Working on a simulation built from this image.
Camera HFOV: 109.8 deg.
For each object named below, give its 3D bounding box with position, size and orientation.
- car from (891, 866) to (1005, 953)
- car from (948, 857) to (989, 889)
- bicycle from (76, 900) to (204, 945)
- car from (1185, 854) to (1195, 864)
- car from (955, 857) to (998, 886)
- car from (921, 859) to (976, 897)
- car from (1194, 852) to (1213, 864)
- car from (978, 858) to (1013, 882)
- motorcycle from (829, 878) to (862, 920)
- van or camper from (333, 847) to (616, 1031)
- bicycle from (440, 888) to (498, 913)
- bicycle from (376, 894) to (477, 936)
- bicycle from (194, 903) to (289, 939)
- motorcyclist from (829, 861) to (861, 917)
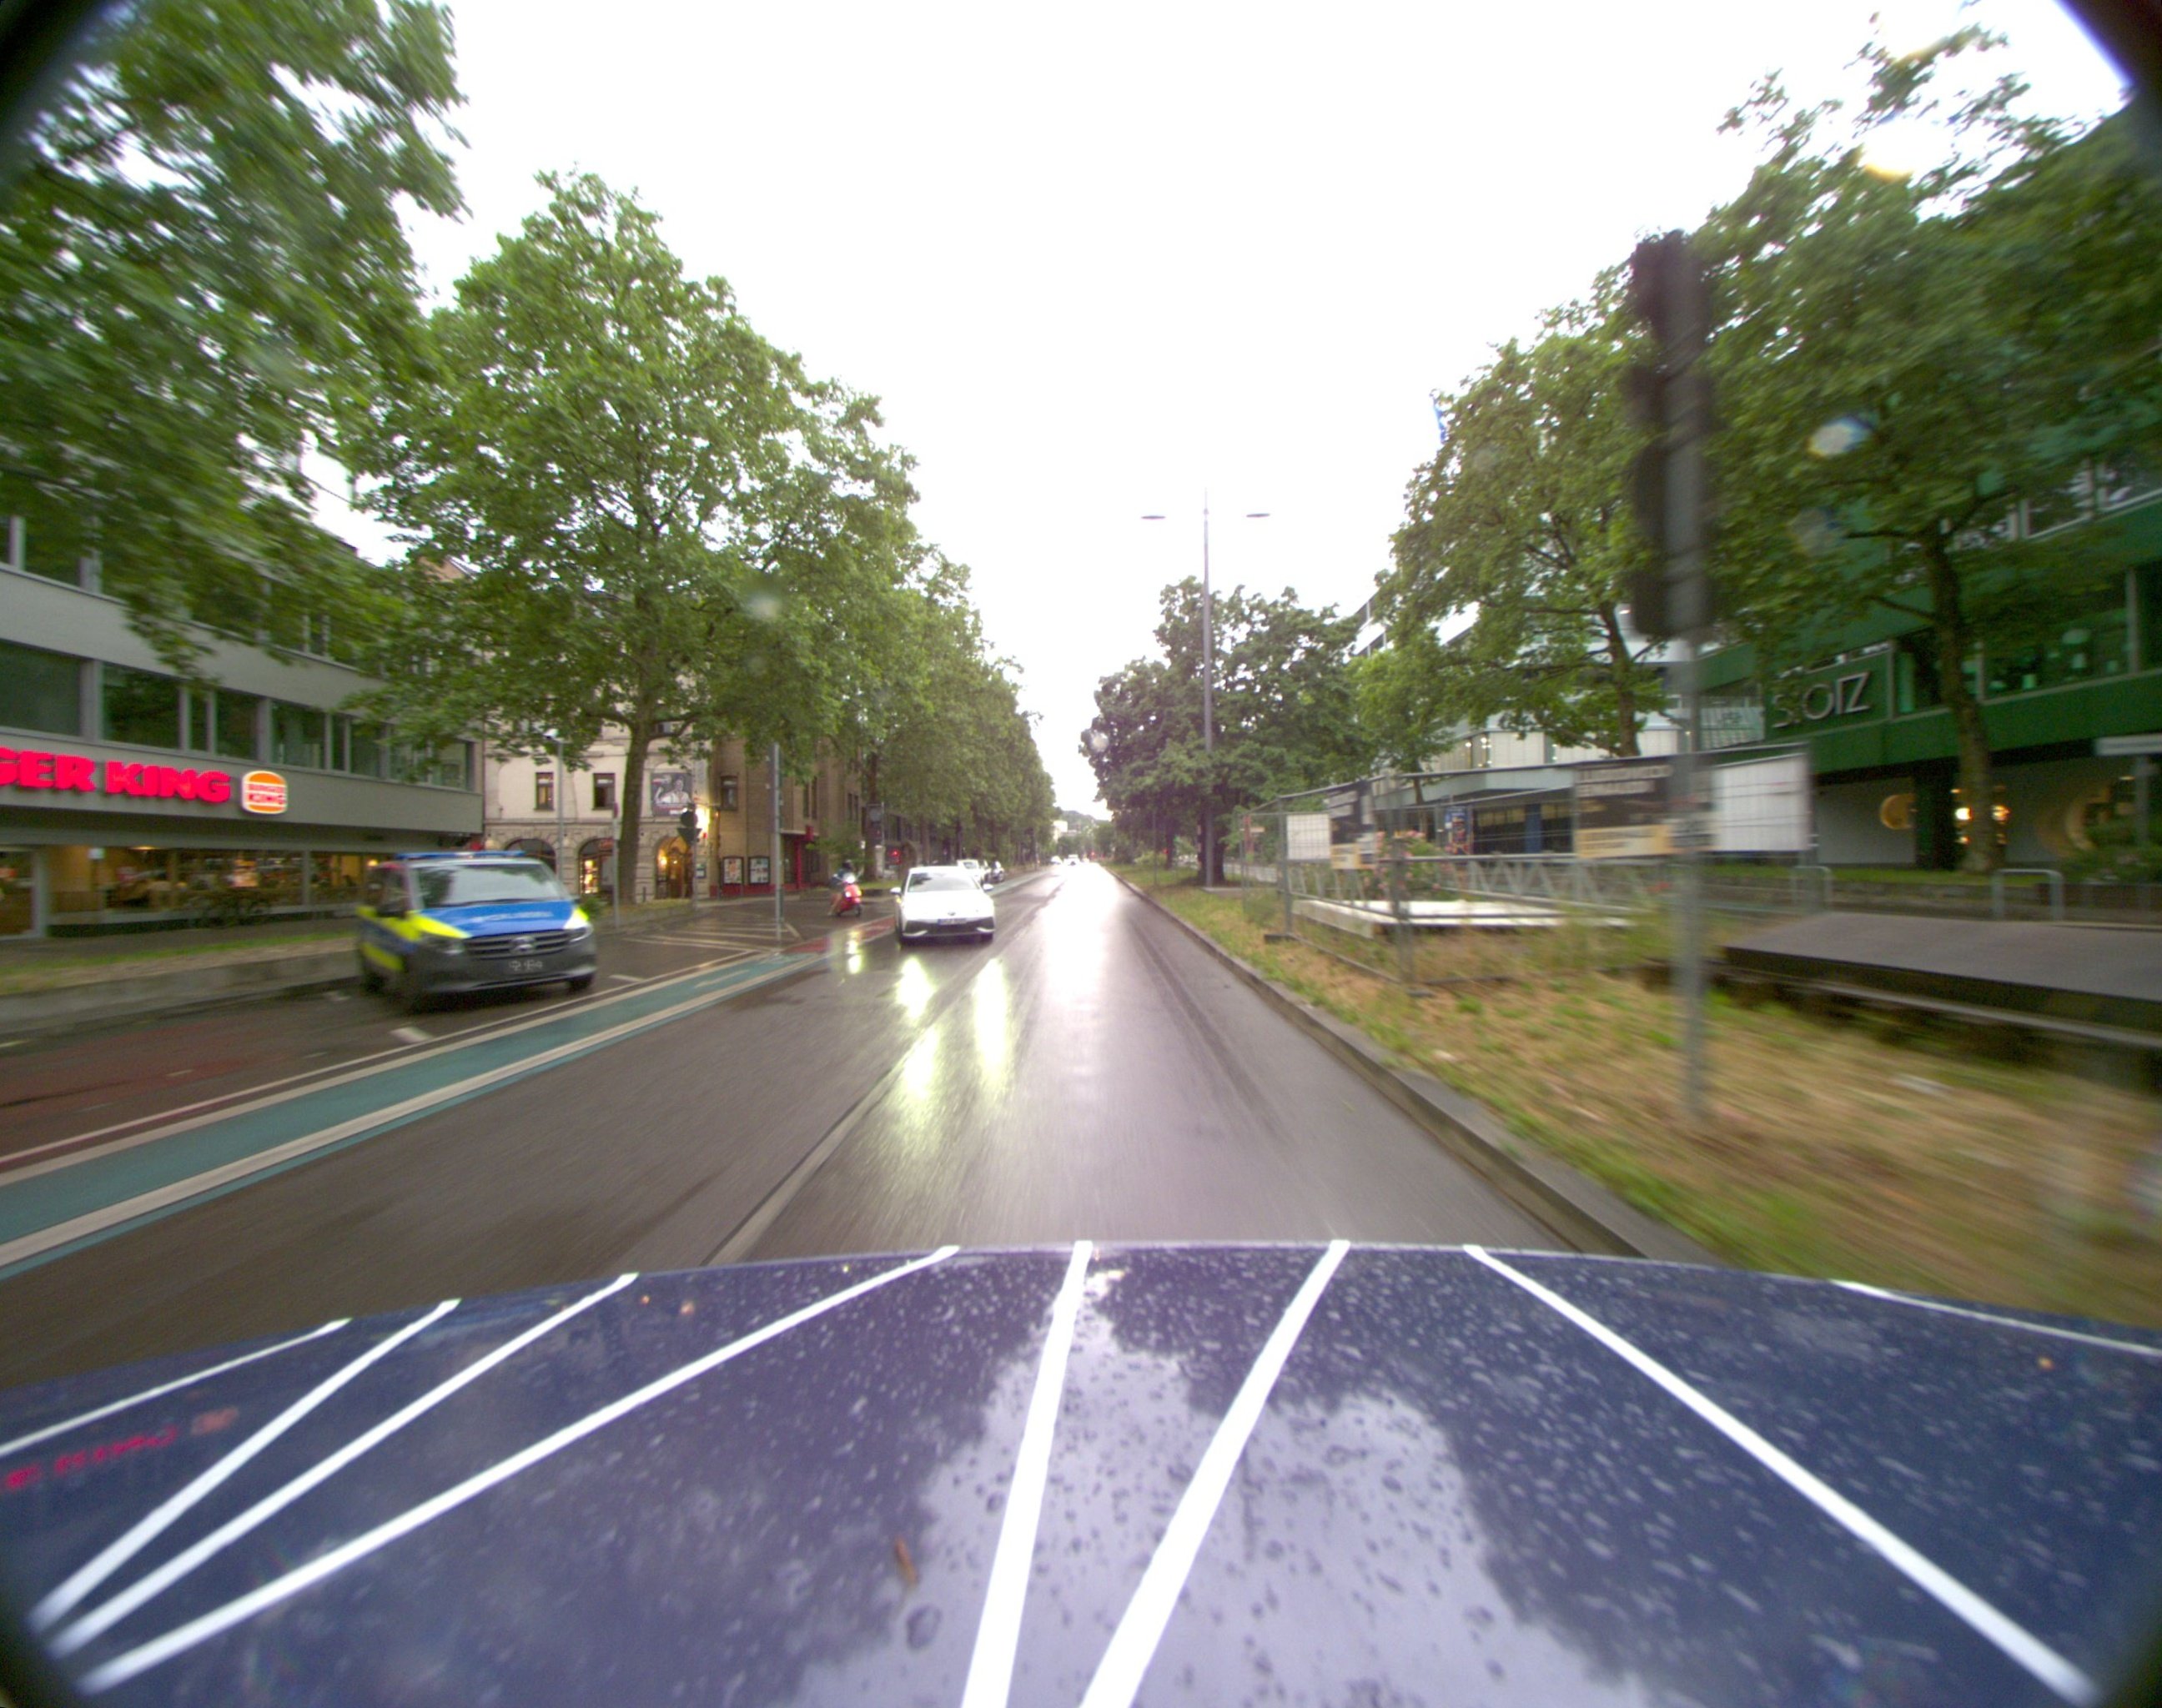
[{"bbox_3d":[-2.943,1.034,15.973,1.868,1.436,4.503,-2,0,-16],"label":"car"},{"bbox_3d":[-6.063,0.997,41.257,1.756,1.576,4.409,-2,0,-3],"label":"car"},{"bbox_3d":[-22.633,1.634,18.351,0.584,0.890,2.076,-1,0,-3],"label":"bicycle"},{"bbox_3d":[16.570,0.719,116.032,1.163,1.454,3.561,-1,0,3],"label":"car"},{"bbox_3d":[-6.279,1.030,46.017,1.999,1.580,4.559,-2,0,-1],"label":"car"},{"bbox_3d":[-6.155,1.069,35.780,1.797,1.593,4.423,-2,0,0],"label":"car"},{"bbox_3d":[15.775,0.543,97.927,1.998,1.483,4.757,1,0,5],"label":"car"},{"bbox_3d":[-5.760,1.053,51.679,1.747,1.424,4.586,-2,0,1],"label":"car"},{"bbox_3d":[-7.108,1.322,22.936,0.869,1.136,2.019,-2,0,-17],"label":"motorcycle"},{"bbox_3d":[-8.639,0.991,10.650,4.933,1.980,2.006,-2,1,39],"label":"van or camper"},{"bbox_3d":[-25.846,1.956,32.087,1.971,0.932,0.625,-2,0,5],"label":"bicycle"},{"bbox_3d":[-17.761,1.634,20.692,0.642,0.917,1.916,24,0,9],"label":"bicycle"},{"bbox_3d":[-23.172,1.828,21.025,0.643,0.814,1.912,-1,0,-8],"label":"bicycle"},{"bbox_3d":[-7.115,1.034,22.920,0.850,1.635,0.870,-2,1,-17],"label":"motorcyclist"}]
